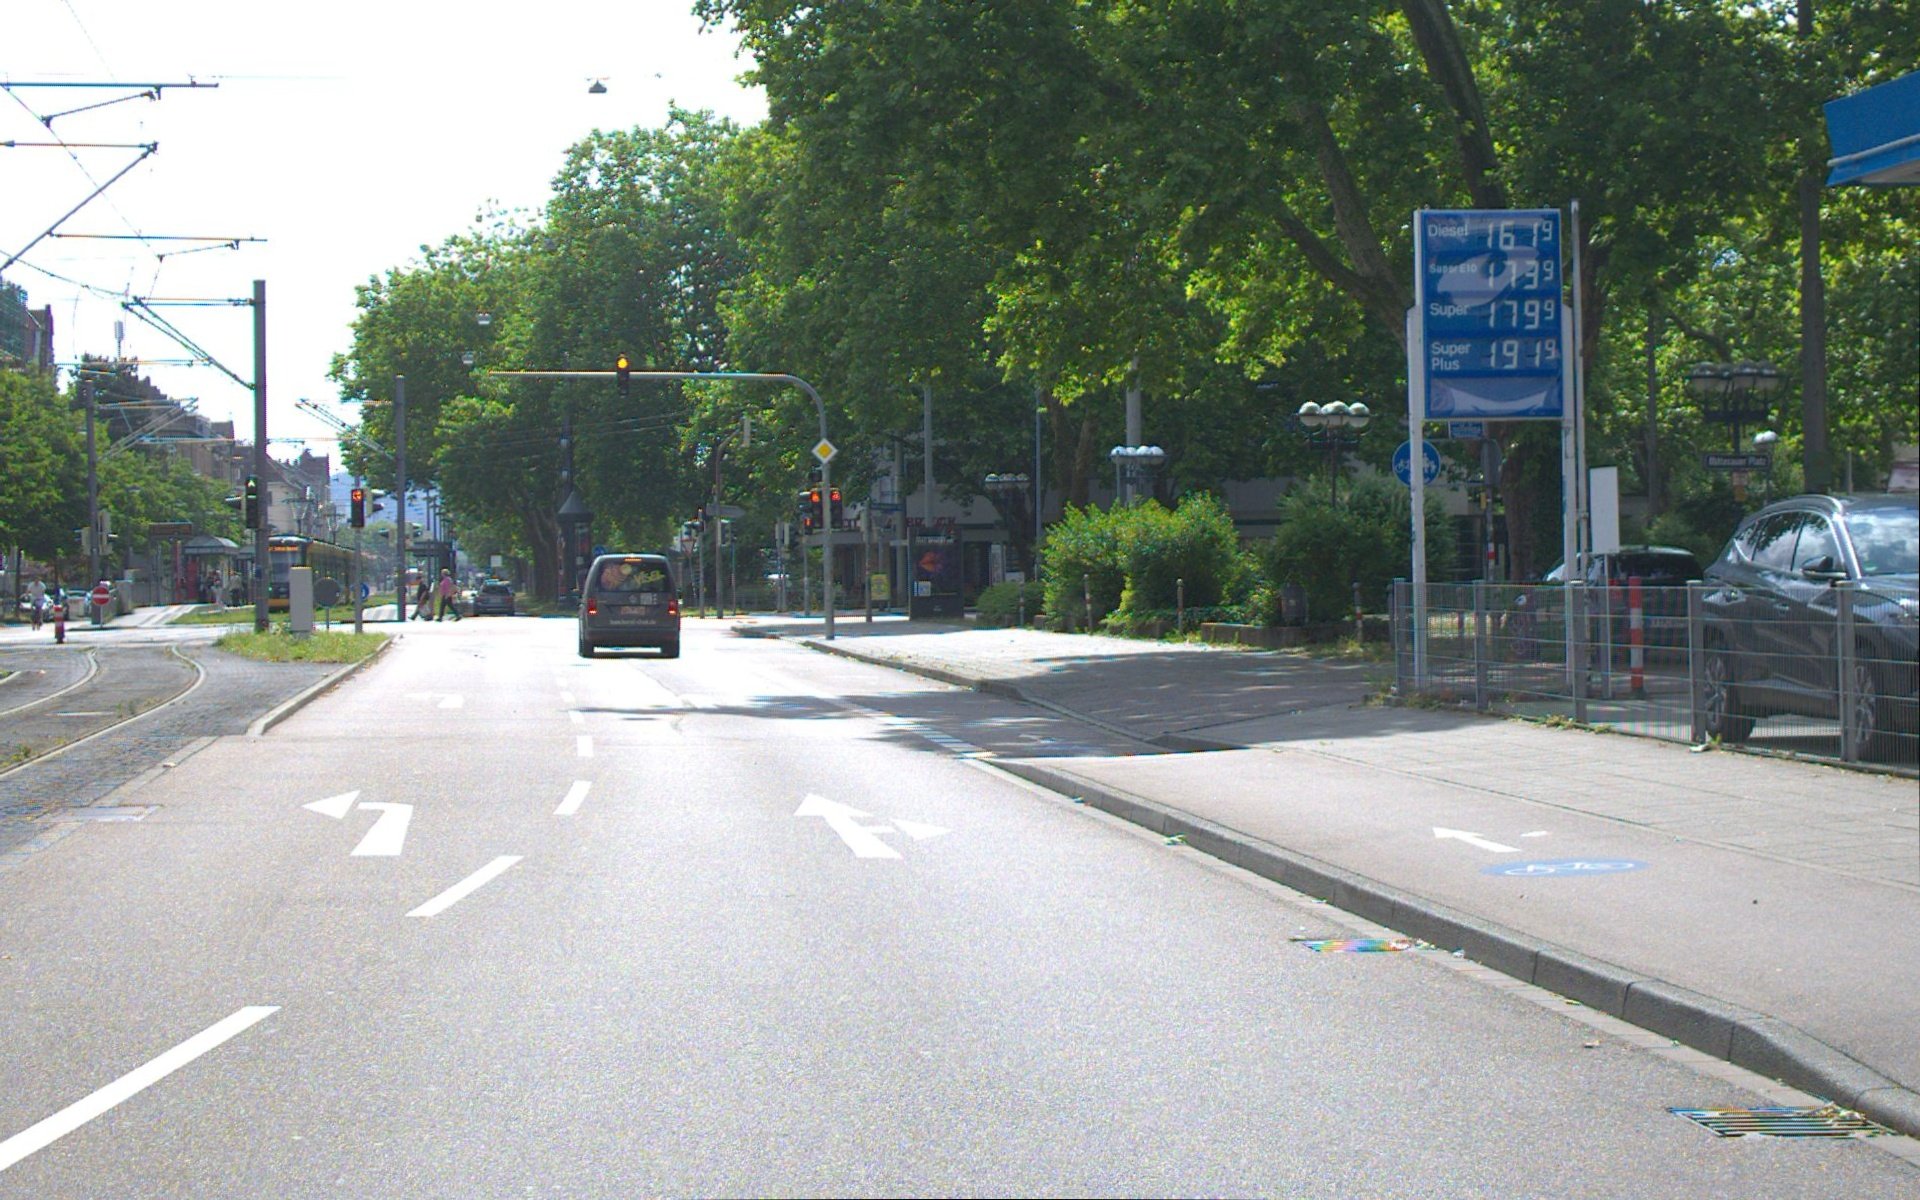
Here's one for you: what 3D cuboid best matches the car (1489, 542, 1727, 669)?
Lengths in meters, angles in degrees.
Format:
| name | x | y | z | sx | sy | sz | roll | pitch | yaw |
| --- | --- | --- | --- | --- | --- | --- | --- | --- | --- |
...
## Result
| name | x | y | z | sx | sy | sz | roll | pitch | yaw |
| --- | --- | --- | --- | --- | --- | --- | --- | --- | --- |
| car | 7.949 | 0.043 | 42.509 | 1.648 | 1.465 | 4.044 | -1 | 1 | -8 |

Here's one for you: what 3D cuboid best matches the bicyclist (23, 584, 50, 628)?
| name | x | y | z | sx | sy | sz | roll | pitch | yaw |
| --- | --- | --- | --- | --- | --- | --- | --- | --- | --- |
| bicyclist | -32.368 | 0.206 | 120.545 | 0.778 | 1.506 | 1.001 | -1 | 1 | -9 |

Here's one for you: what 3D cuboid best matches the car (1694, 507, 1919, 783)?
| name | x | y | z | sx | sy | sz | roll | pitch | yaw |
| --- | --- | --- | --- | --- | --- | --- | --- | --- | --- |
| car | 6.247 | 0.237 | 21.655 | 1.805 | 1.597 | 4.583 | -1 | 1 | -6 |

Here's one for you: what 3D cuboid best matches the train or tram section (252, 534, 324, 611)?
| name | x | y | z | sx | sy | sz | roll | pitch | yaw |
| --- | --- | --- | --- | --- | --- | --- | --- | --- | --- |
| train or tram section | -30.639 | -1.256 | 157.177 | 2.240 | 3.320 | 12.974 | -1 | 1 | -7 |

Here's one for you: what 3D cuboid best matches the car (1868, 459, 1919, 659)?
| name | x | y | z | sx | sy | sz | roll | pitch | yaw |
| --- | --- | --- | --- | --- | --- | --- | --- | --- | --- |
| car | 13.496 | -0.532 | 42.994 | 2.111 | 2.573 | 6.020 | -1 | 1 | -6 |

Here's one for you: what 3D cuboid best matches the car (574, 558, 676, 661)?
| name | x | y | z | sx | sy | sz | roll | pitch | yaw |
| --- | --- | --- | --- | --- | --- | --- | --- | --- | --- |
| car | -6.092 | 0.153 | 62.314 | 1.750 | 1.802 | 3.475 | 0 | 0 | -7 |

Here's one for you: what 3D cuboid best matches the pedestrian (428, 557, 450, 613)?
| name | x | y | z | sx | sy | sz | roll | pitch | yaw |
| --- | --- | --- | --- | --- | --- | --- | --- | --- | --- |
| pedestrian | -16.848 | -0.491 | 111.163 | 0.659 | 1.778 | 0.660 | -1 | 0 | -7 |

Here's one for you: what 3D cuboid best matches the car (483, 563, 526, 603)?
| name | x | y | z | sx | sy | sz | roll | pitch | yaw |
| --- | --- | --- | --- | --- | --- | --- | --- | --- | --- |
| car | -20.699 | -0.766 | 156.258 | 1.862 | 1.747 | 4.001 | -1 | 1 | -7 |

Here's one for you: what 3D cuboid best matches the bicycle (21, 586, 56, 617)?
| name | x | y | z | sx | sy | sz | roll | pitch | yaw |
| --- | --- | --- | --- | --- | --- | --- | --- | --- | --- |
| bicycle | -32.352 | 0.043 | 120.720 | 0.894 | 1.045 | 2.309 | -1 | 1 | -8 |
